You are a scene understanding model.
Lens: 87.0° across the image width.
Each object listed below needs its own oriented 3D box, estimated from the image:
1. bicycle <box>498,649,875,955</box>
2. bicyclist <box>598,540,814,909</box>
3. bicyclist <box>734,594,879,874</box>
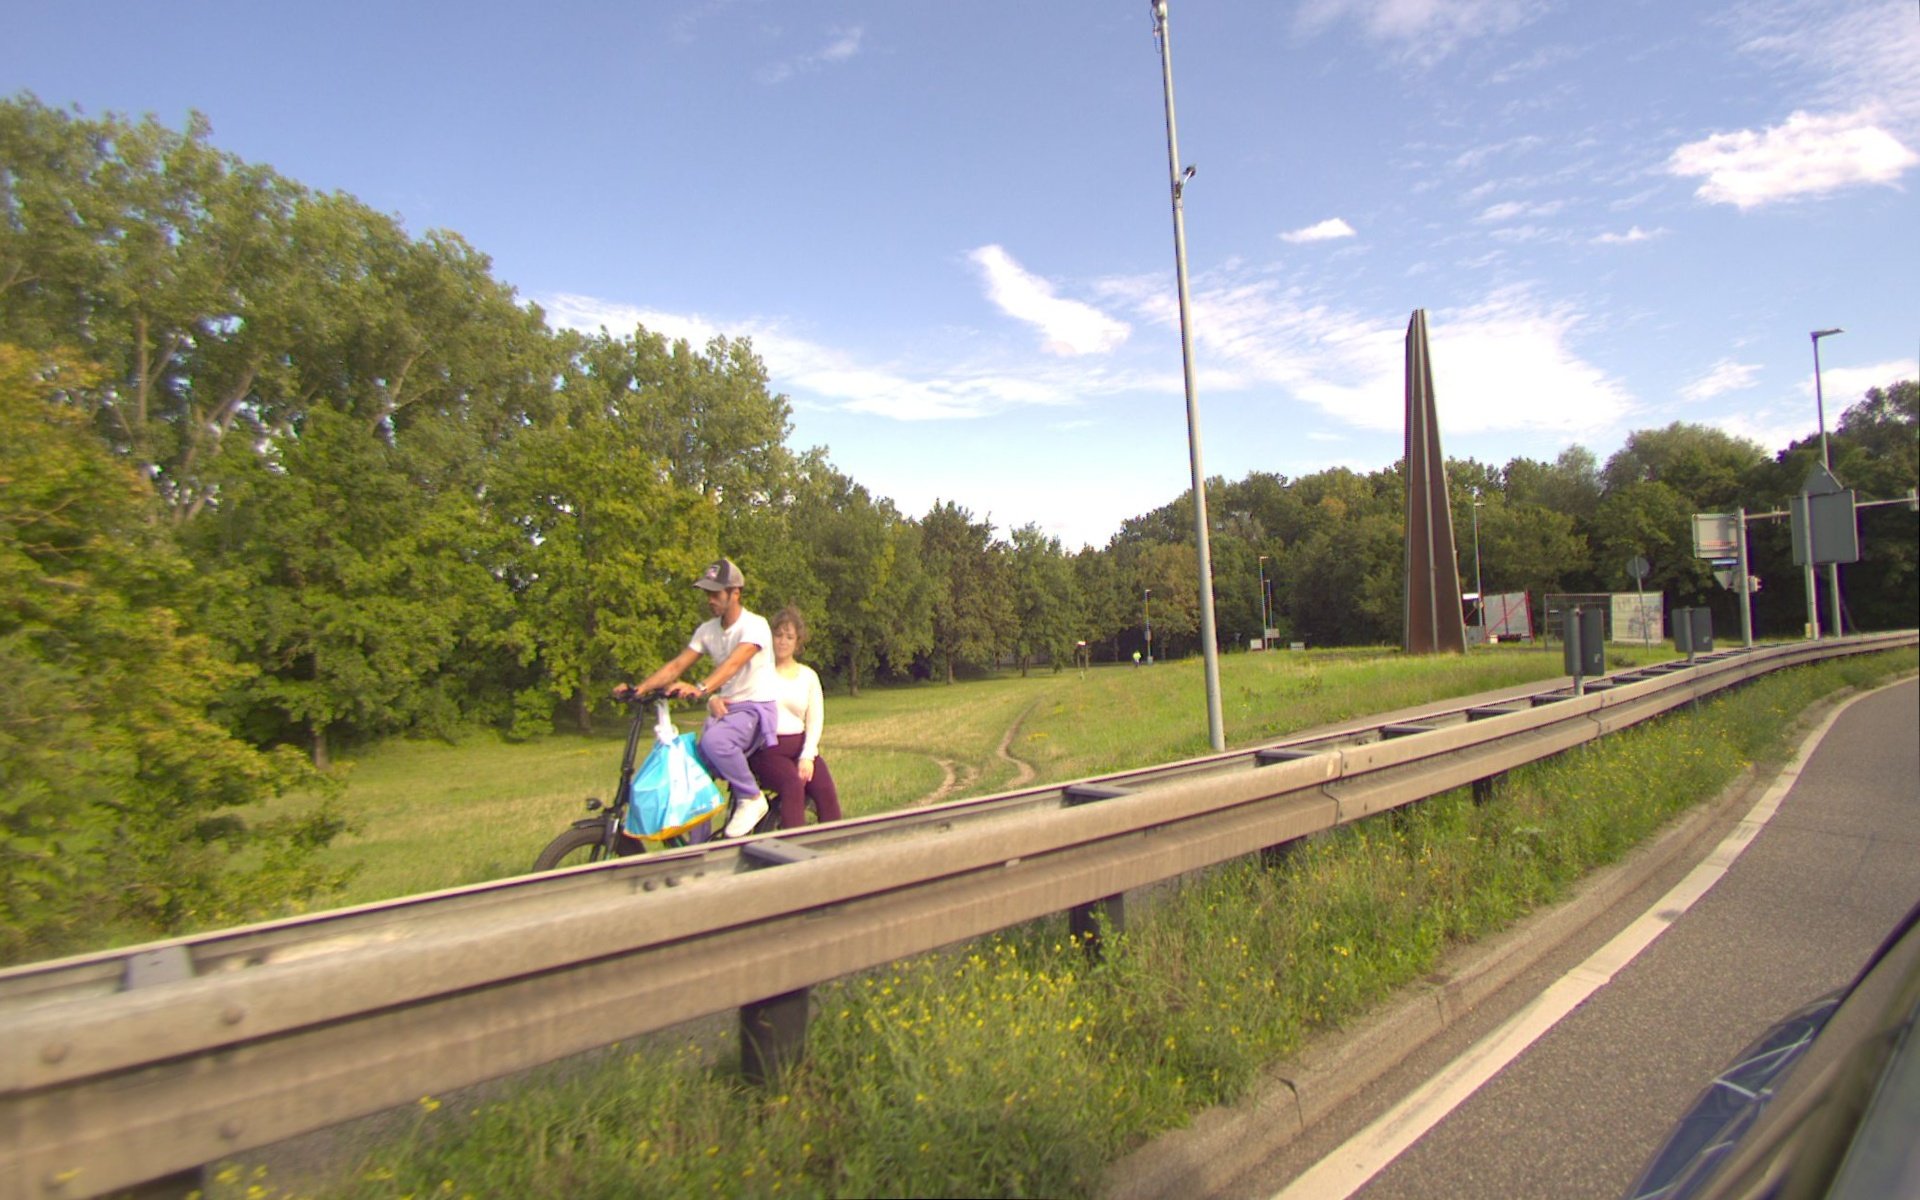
[{"bbox_3d":[-1.238,0.840,4.836,0.596,1.135,1.669,-1,-1,44],"label":"bicycle"},{"bbox_3d":[-1.220,0.534,4.860,0.707,1.577,0.742,-1,-1,45],"label":"bicyclist"},{"bbox_3d":[-0.782,0.635,5.158,0.500,1.318,0.530,-1,-1,45],"label":"bicyclist"}]
